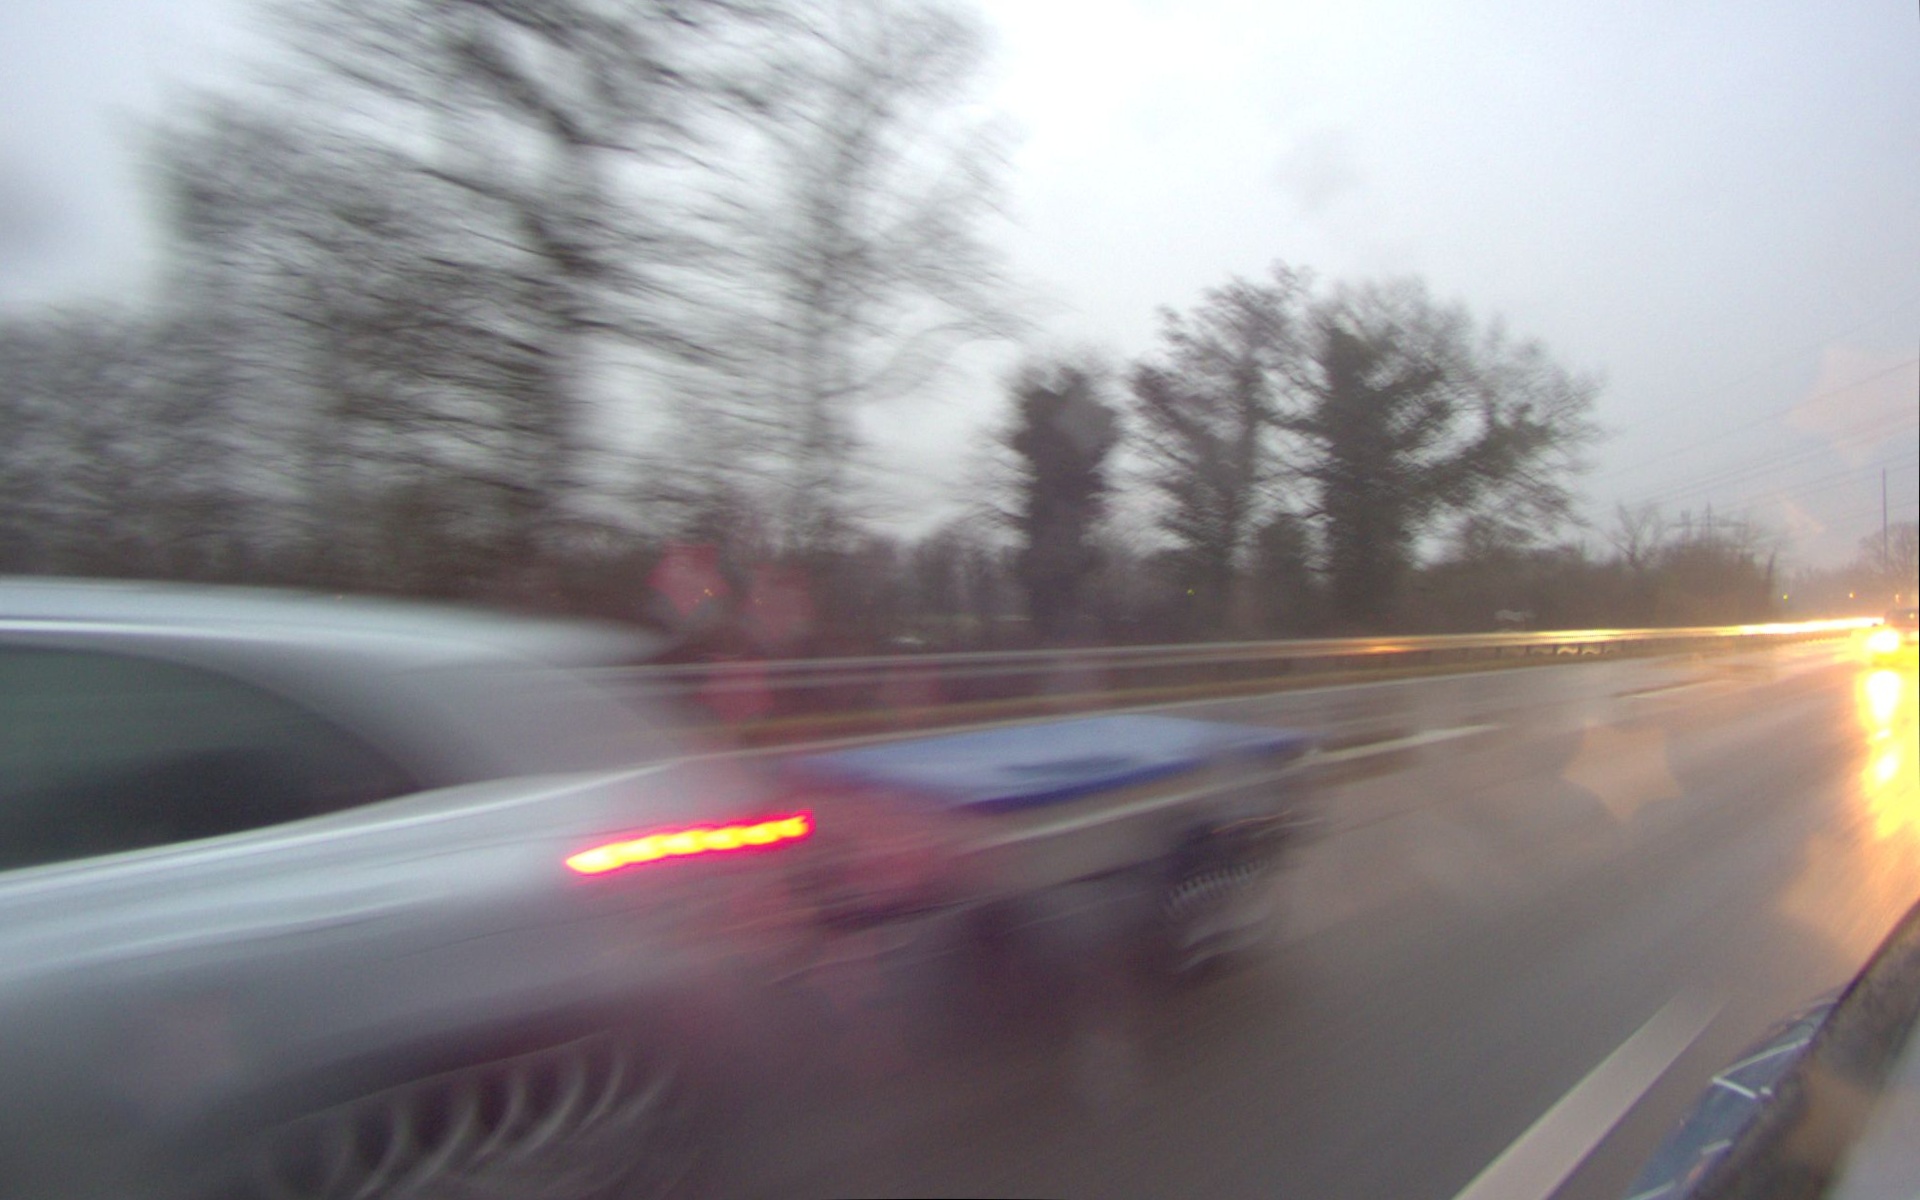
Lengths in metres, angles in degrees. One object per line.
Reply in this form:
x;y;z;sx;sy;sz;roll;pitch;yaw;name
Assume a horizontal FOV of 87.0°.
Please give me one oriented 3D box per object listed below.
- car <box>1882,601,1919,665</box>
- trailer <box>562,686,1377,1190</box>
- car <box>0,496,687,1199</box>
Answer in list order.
24.029;0.766;24.866;3.531;1.510;1.597;0;-1;-41;car
0.156;0.969;4.112;2.899;0.937;1.751;0;0;-41;trailer
-2.597;0.604;1.695;3.745;1.536;1.789;0;0;-41;car
